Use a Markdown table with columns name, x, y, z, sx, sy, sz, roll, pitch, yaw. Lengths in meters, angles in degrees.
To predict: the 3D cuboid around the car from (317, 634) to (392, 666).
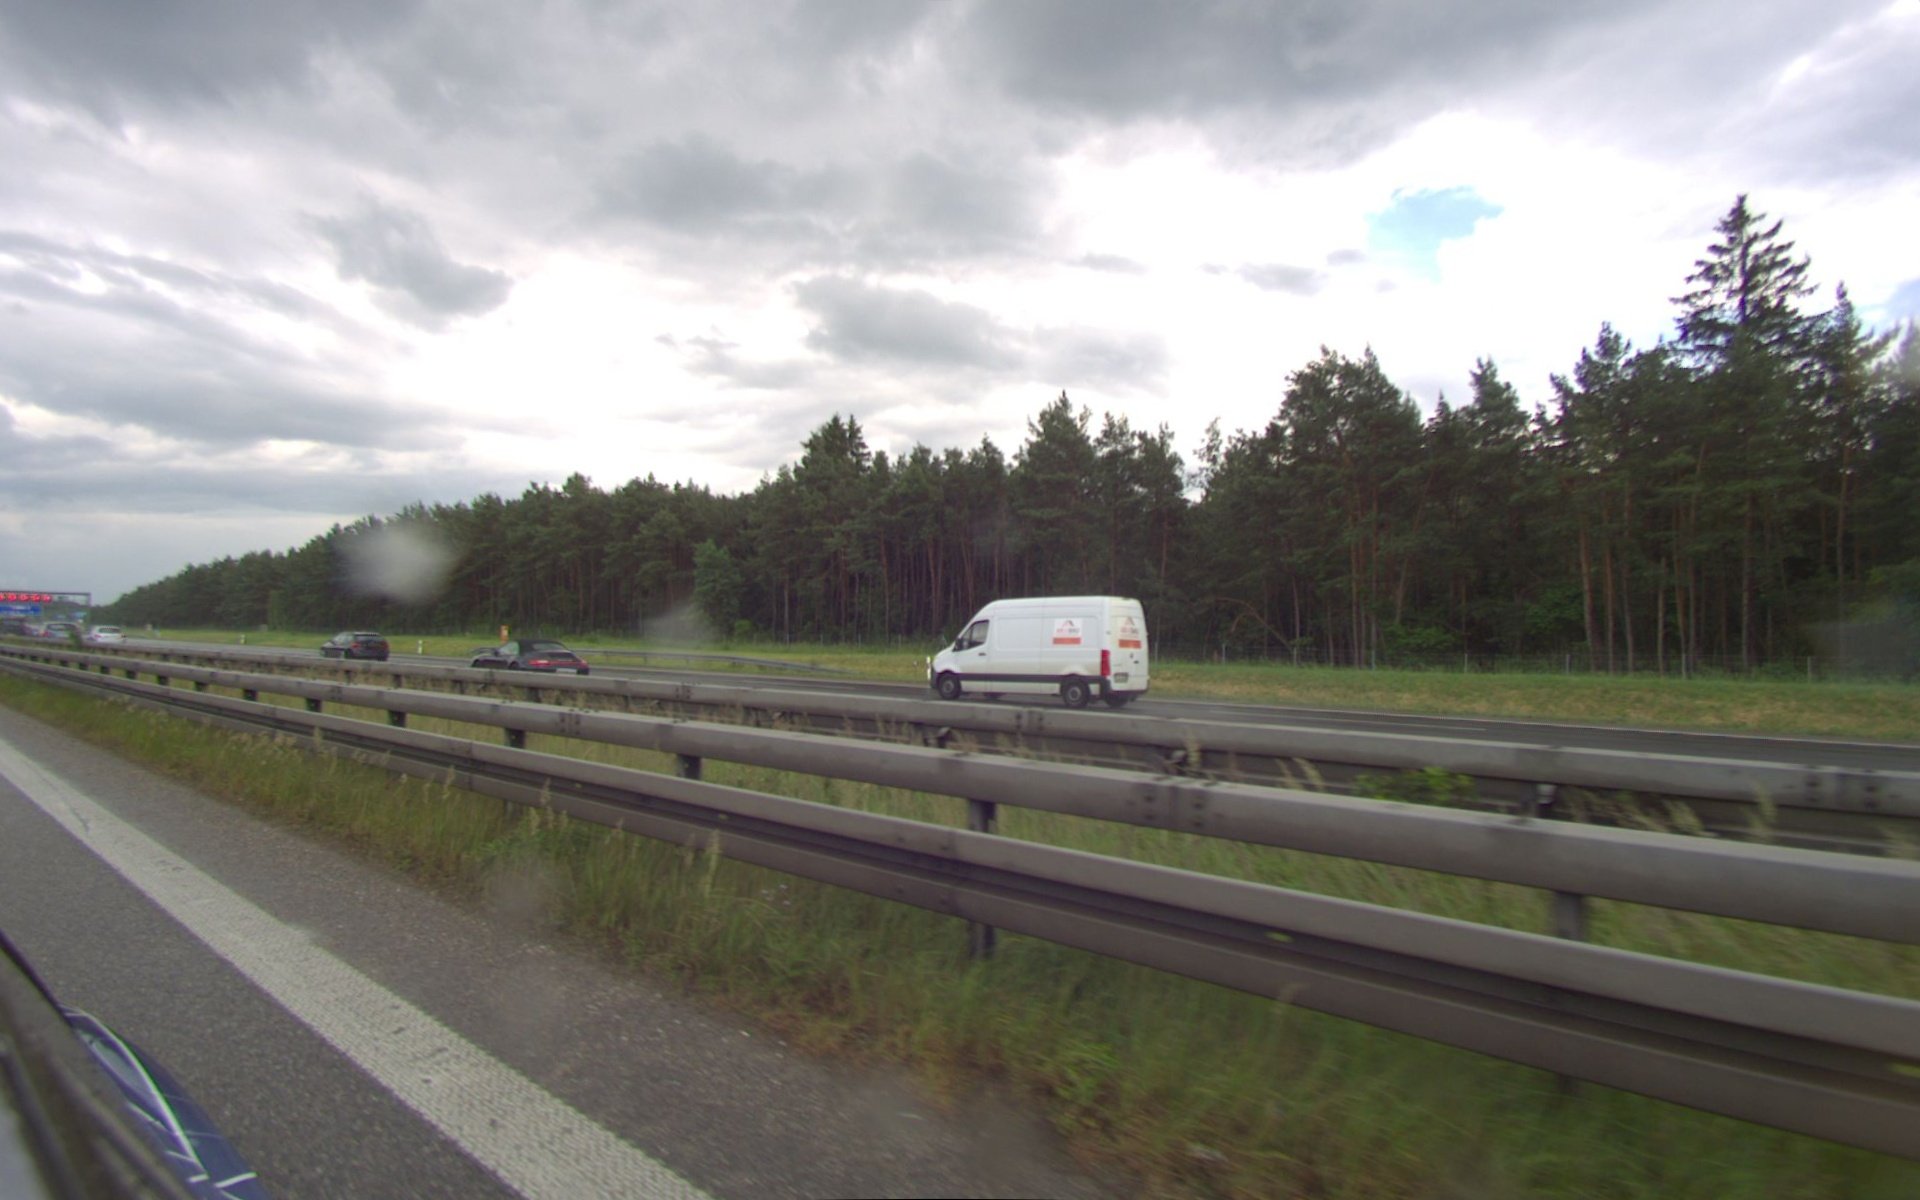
| name | x | y | z | sx | sy | sz | roll | pitch | yaw |
| --- | --- | --- | --- | --- | --- | --- | --- | --- | --- |
| car | -27.841 | 2.278 | 46.481 | 4.256 | 1.369 | 1.680 | -2 | -4 | 41 |

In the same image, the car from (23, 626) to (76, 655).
| name | x | y | z | sx | sy | sz | roll | pitch | yaw |
| --- | --- | --- | --- | --- | --- | --- | --- | --- | --- |
| car | -50.613 | 2.222 | 56.236 | 3.998 | 1.551 | 1.752 | -2 | -3 | 42 |

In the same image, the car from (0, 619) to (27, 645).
| name | x | y | z | sx | sy | sz | roll | pitch | yaw |
| --- | --- | --- | --- | --- | --- | --- | --- | --- | --- |
| car | -75.562 | 2.535 | 80.187 | 4.625 | 2.029 | 1.972 | -1 | -2 | 42 |

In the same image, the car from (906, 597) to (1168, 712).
| name | x | y | z | sx | sy | sz | roll | pitch | yaw |
| --- | --- | --- | --- | --- | --- | --- | --- | --- | --- |
| car | 1.753 | 1.304 | 25.220 | 6.581 | 2.530 | 2.076 | -1 | -4 | 41 |

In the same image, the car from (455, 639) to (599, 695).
| name | x | y | z | sx | sy | sz | roll | pitch | yaw |
| --- | --- | --- | --- | --- | --- | --- | --- | --- | --- |
| car | -11.608 | 1.734 | 26.995 | 4.665 | 1.335 | 1.680 | -1 | -3 | 41 |

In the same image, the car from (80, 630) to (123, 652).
| name | x | y | z | sx | sy | sz | roll | pitch | yaw |
| --- | --- | --- | --- | --- | --- | --- | --- | --- | --- |
| car | -58.684 | 2.786 | 69.131 | 3.998 | 1.499 | 1.680 | -2 | -3 | 42 |

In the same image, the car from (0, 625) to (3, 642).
| name | x | y | z | sx | sy | sz | roll | pitch | yaw |
| --- | --- | --- | --- | --- | --- | --- | --- | --- | --- |
| car | -93.757 | 3.240 | 97.520 | 4.489 | 1.601 | 1.840 | -1 | -2 | 42 |
